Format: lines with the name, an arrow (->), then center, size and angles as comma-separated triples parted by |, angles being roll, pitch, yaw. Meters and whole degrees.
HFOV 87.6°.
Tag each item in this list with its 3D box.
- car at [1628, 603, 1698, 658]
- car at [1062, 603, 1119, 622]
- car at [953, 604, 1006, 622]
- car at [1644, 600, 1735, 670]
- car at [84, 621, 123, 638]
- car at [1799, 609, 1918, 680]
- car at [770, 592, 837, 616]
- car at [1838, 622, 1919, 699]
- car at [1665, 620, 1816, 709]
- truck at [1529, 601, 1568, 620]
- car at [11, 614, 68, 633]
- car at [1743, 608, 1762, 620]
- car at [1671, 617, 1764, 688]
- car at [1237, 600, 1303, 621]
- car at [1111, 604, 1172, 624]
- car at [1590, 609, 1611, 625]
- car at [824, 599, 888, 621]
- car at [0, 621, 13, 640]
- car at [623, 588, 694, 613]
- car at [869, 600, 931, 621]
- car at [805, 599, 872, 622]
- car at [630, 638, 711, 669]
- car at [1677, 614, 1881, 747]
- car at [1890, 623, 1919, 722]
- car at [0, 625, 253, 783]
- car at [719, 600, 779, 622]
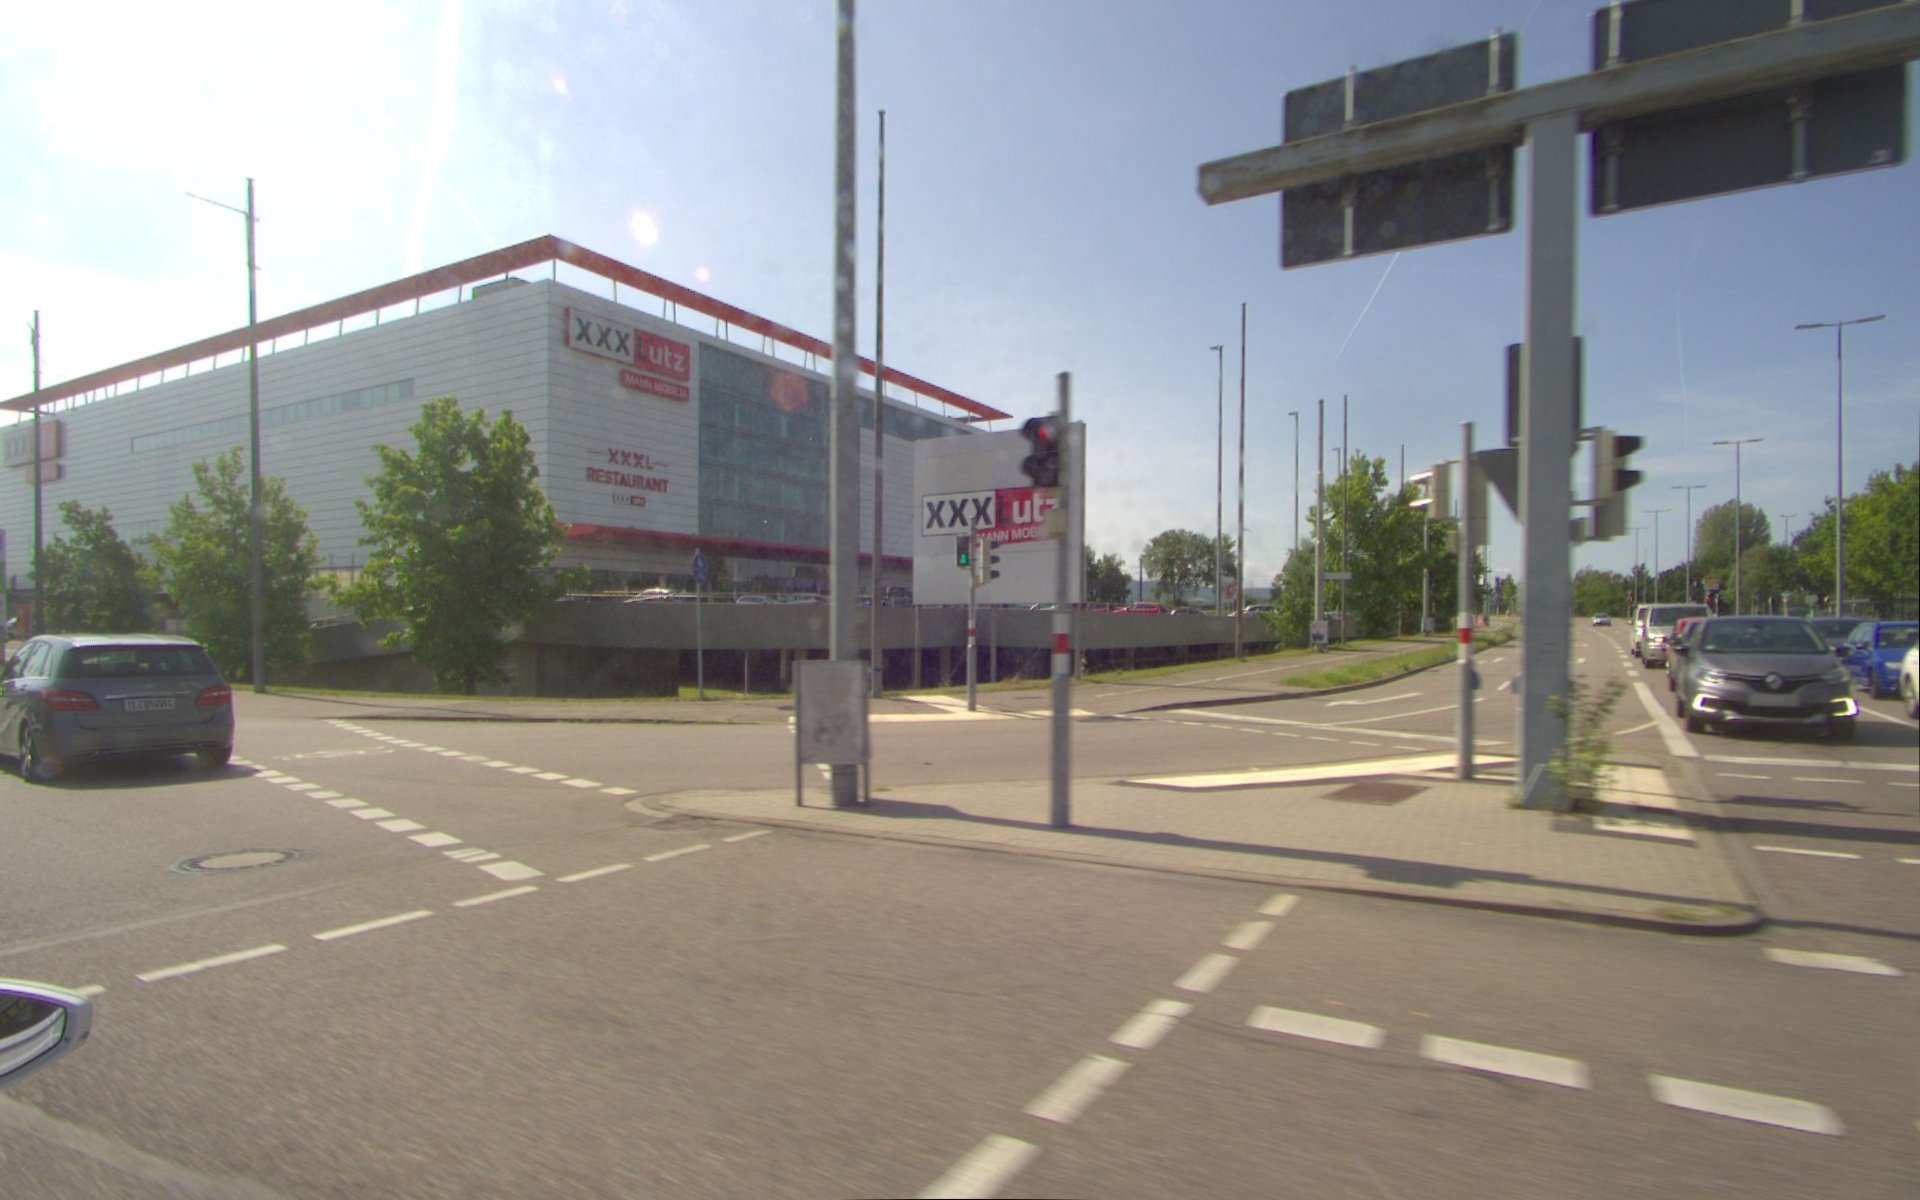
car -> 26.624, 1.169, 38.059 | 1.887, 1.960, 4.766 | -2, -2, 32
car -> 10.149, 1.000, 77.967 | 4.139, 1.438, 1.682 | 0, -1, 32
car -> 1.606, 1.095, 83.087 | 4.139, 1.438, 1.787 | 0, -1, 32
car -> 22.479, 1.082, 31.013 | 1.935, 2.001, 4.665 | -2, -2, 32
car -> -80.143, 2.755, 93.684 | 4.036, 1.529, 1.670 | 0, -2, 34
car -> 22.656, 1.102, 25.392 | 1.661, 1.641, 4.108 | -1, -2, 34
car -> -9.974, 0.289, 63.799 | 3.947, 1.438, 1.797 | 0, -1, 29
car -> 18.315, 1.106, 19.075 | 1.699, 1.359, 4.038 | -1, -2, 31
car -> 15.214, 1.192, 19.725 | 1.881, 1.528, 4.021 | -2, -1, 32
truck -> 104.445, 1.924, 177.793 | 5.886, 3.064, 1.993 | -1, -4, 29
car -> -99.975, 2.548, 108.778 | 1.751, 1.953, 4.181 | 0, -2, 32
car -> 107.112, 1.965, 135.406 | 1.617, 1.555, 3.897 | 0, -1, 32
car -> 18.395, 1.228, 24.435 | 1.576, 1.596, 3.463 | 0, -1, 33
car -> 21.641, 0.732, 69.912 | 4.139, 1.438, 1.682 | 0, -1, 32
car -> 13.328, 1.021, 73.408 | 4.047, 1.438, 1.786 | 0, -1, 30
car -> 74.111, 1.974, 115.935 | 1.856, 1.706, 3.980 | -1, 0, 30
car -> -7.120, 0.709, 68.539 | 4.139, 1.438, 1.869 | 0, -1, 32
car -> -94.645, 2.954, 98.238 | 4.036, 1.774, 1.670 | 0, -2, 34
car -> -18.084, 0.047, 60.018 | 4.139, 1.438, 1.768 | 0, -1, 32
car -> -4.349, 0.789, 72.616 | 4.139, 1.438, 1.897 | 0, -1, 32
car -> -8.000, 0.699, 65.810 | 4.139, 1.438, 1.829 | 0, -1, 32
car -> -14.908, 2.770, 51.824 | 1.770, 1.542, 4.114 | 0, -3, 25
car -> 11.263, 1.014, 14.039 | 1.783, 1.578, 3.877 | -1, -2, 33
car -> 14.427, 1.022, 13.466 | 1.931, 1.444, 4.708 | -2, -2, 32
car -> -10.146, 1.093, 11.883 | 4.086, 1.558, 1.768 | -1, -3, 38
car -> -14.660, 0.767, 69.580 | 3.854, 1.438, 1.684 | 0, -1, 27
